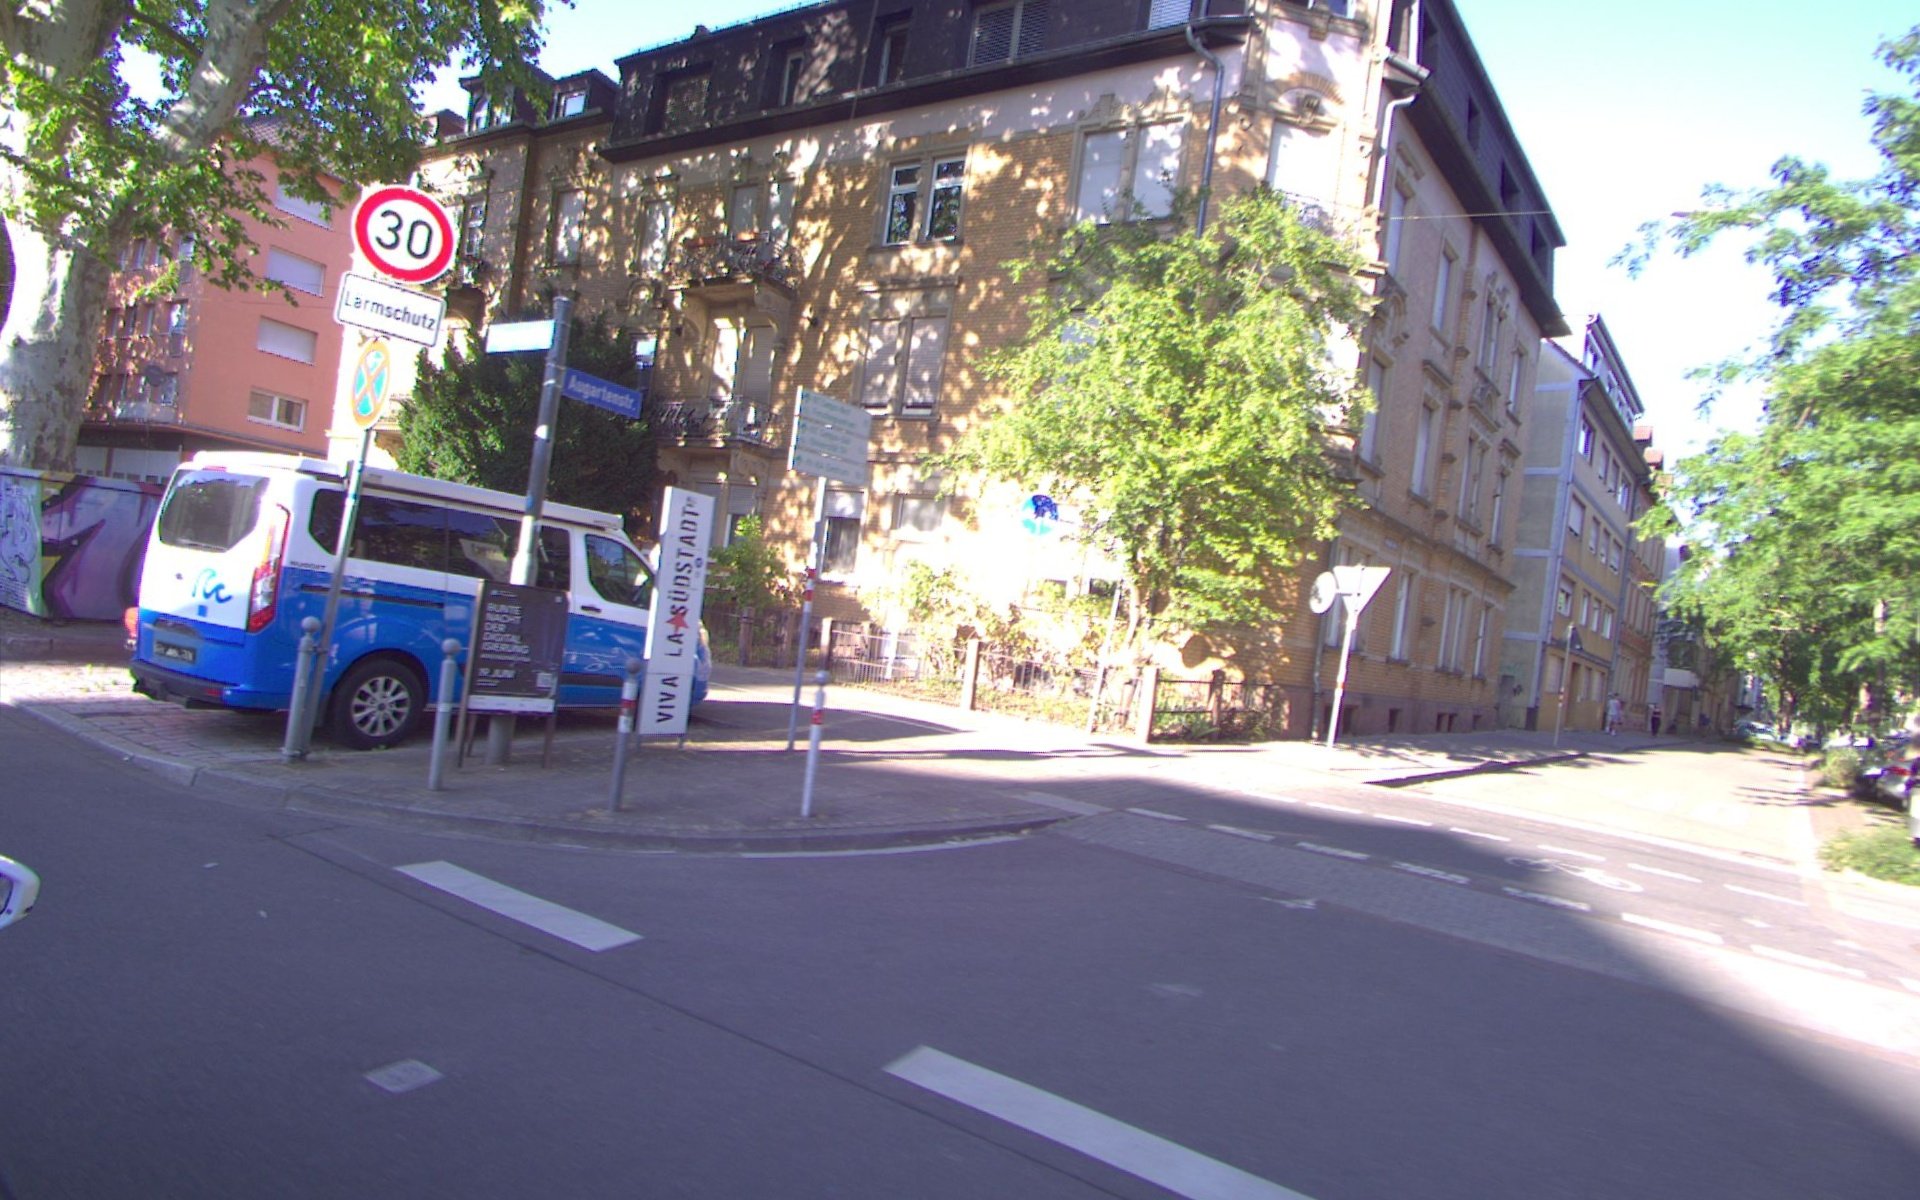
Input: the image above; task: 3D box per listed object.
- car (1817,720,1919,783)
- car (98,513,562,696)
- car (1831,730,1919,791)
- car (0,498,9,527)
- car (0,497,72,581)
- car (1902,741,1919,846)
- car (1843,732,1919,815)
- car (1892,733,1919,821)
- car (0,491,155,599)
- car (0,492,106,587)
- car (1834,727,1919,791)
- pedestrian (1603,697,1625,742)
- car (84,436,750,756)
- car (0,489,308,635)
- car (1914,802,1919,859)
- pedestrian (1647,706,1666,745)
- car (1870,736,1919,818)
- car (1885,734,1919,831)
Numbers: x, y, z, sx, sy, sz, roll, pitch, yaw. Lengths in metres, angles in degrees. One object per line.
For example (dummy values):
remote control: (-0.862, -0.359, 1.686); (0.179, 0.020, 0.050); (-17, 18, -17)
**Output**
car: (49.263, 8.124, 53.609); (5.229, 2.641, 2.134); (6, -1, 41)
car: (-6.536, 0.122, 10.872); (1.760, 1.506, 3.788); (7, 0, 29)
car: (30.958, 5.337, 32.636); (3.944, 1.601, 1.723); (6, -1, 41)
car: (-51.894, -4.827, 51.998); (1.655, 1.469, 3.545); (7, -1, 29)
car: (-21.012, -1.488, 20.310); (1.788, 1.592, 4.205); (7, -2, 34)
car: (16.712, 3.215, 14.802); (3.944, 1.601, 1.723); (6, -1, 41)
car: (22.113, 4.028, 22.065); (3.944, 1.601, 1.723); (6, -1, 41)
car: (19.704, 3.539, 18.220); (3.944, 1.601, 1.723); (6, -1, 41)
car: (-16.989, -1.111, 17.515); (1.788, 1.638, 4.205); (7, -2, 34)
car: (-19.120, -1.346, 18.886); (1.846, 1.638, 4.210); (7, -1, 29)
car: (35.857, 6.122, 38.104); (3.944, 2.019, 1.792); (6, 0, 41)
pedestrian: (27.311, 4.986, 42.002); (0.515, 1.769, 0.922); (7, 0, 38)
car: (-4.440, 0.041, 9.209); (2.156, 2.038, 4.854); (7, 0, 28)
car: (-11.557, -0.503, 13.901); (1.760, 1.639, 3.788); (7, 0, 29)
car: (15.086, 2.996, 12.883); (3.944, 1.601, 1.723); (6, -1, 41)
pedestrian: (32.704, 5.879, 47.243); (0.515, 1.769, 0.488); (7, 0, 38)
car: (21.037, 3.844, 20.183); (3.944, 1.554, 1.723); (6, -1, 41)
car: (18.187, 3.350, 16.717); (3.944, 1.601, 1.723); (6, -1, 41)
